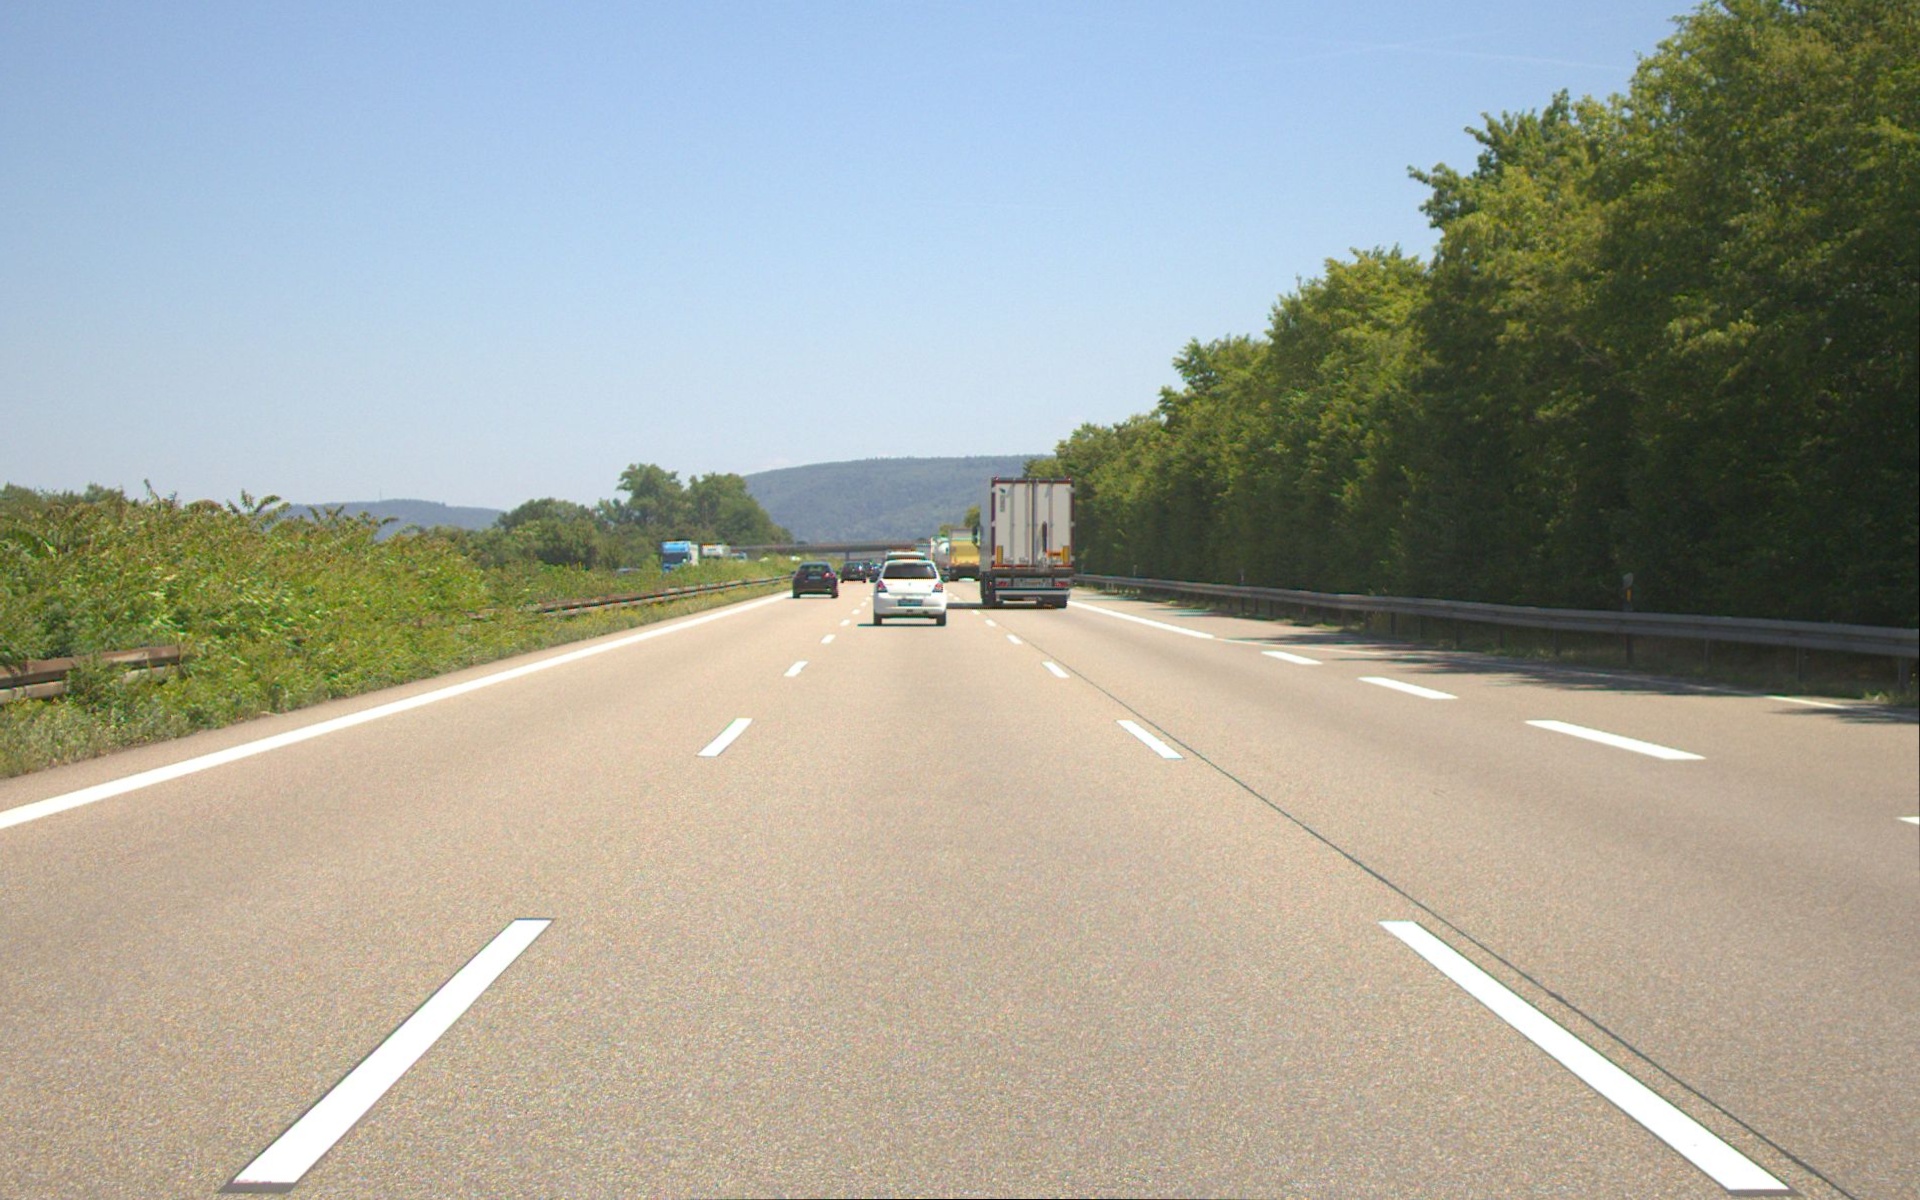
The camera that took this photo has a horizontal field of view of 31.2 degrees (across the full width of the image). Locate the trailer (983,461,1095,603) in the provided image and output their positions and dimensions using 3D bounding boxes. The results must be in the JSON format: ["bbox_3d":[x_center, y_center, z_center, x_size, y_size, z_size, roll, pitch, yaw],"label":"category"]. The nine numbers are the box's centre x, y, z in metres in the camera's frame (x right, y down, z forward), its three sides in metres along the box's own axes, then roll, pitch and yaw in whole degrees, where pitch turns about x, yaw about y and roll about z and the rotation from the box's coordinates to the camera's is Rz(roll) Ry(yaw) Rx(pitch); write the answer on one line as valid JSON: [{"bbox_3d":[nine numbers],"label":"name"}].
[{"bbox_3d":[2.484,-2.170,112.791,3.218,4.330,13.629,1,1,0],"label":"trailer"}]

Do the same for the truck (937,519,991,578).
[{"bbox_3d":[0.262,-3.964,263.891,3.871,4.330,13.861,1,1,-1],"label":"truck"}]

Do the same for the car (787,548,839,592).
[{"bbox_3d":[-5.869,-1.222,137.829,1.993,1.706,4.000,1,1,-2],"label":"car"}]

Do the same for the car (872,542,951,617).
[{"bbox_3d":[-1.148,-0.499,79.806,1.732,1.678,4.000,-1,1,-2],"label":"car"}]

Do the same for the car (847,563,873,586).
[{"bbox_3d":[-6.900,-1.752,237.999,1.795,1.545,4.000,0,0,-1],"label":"car"}]
